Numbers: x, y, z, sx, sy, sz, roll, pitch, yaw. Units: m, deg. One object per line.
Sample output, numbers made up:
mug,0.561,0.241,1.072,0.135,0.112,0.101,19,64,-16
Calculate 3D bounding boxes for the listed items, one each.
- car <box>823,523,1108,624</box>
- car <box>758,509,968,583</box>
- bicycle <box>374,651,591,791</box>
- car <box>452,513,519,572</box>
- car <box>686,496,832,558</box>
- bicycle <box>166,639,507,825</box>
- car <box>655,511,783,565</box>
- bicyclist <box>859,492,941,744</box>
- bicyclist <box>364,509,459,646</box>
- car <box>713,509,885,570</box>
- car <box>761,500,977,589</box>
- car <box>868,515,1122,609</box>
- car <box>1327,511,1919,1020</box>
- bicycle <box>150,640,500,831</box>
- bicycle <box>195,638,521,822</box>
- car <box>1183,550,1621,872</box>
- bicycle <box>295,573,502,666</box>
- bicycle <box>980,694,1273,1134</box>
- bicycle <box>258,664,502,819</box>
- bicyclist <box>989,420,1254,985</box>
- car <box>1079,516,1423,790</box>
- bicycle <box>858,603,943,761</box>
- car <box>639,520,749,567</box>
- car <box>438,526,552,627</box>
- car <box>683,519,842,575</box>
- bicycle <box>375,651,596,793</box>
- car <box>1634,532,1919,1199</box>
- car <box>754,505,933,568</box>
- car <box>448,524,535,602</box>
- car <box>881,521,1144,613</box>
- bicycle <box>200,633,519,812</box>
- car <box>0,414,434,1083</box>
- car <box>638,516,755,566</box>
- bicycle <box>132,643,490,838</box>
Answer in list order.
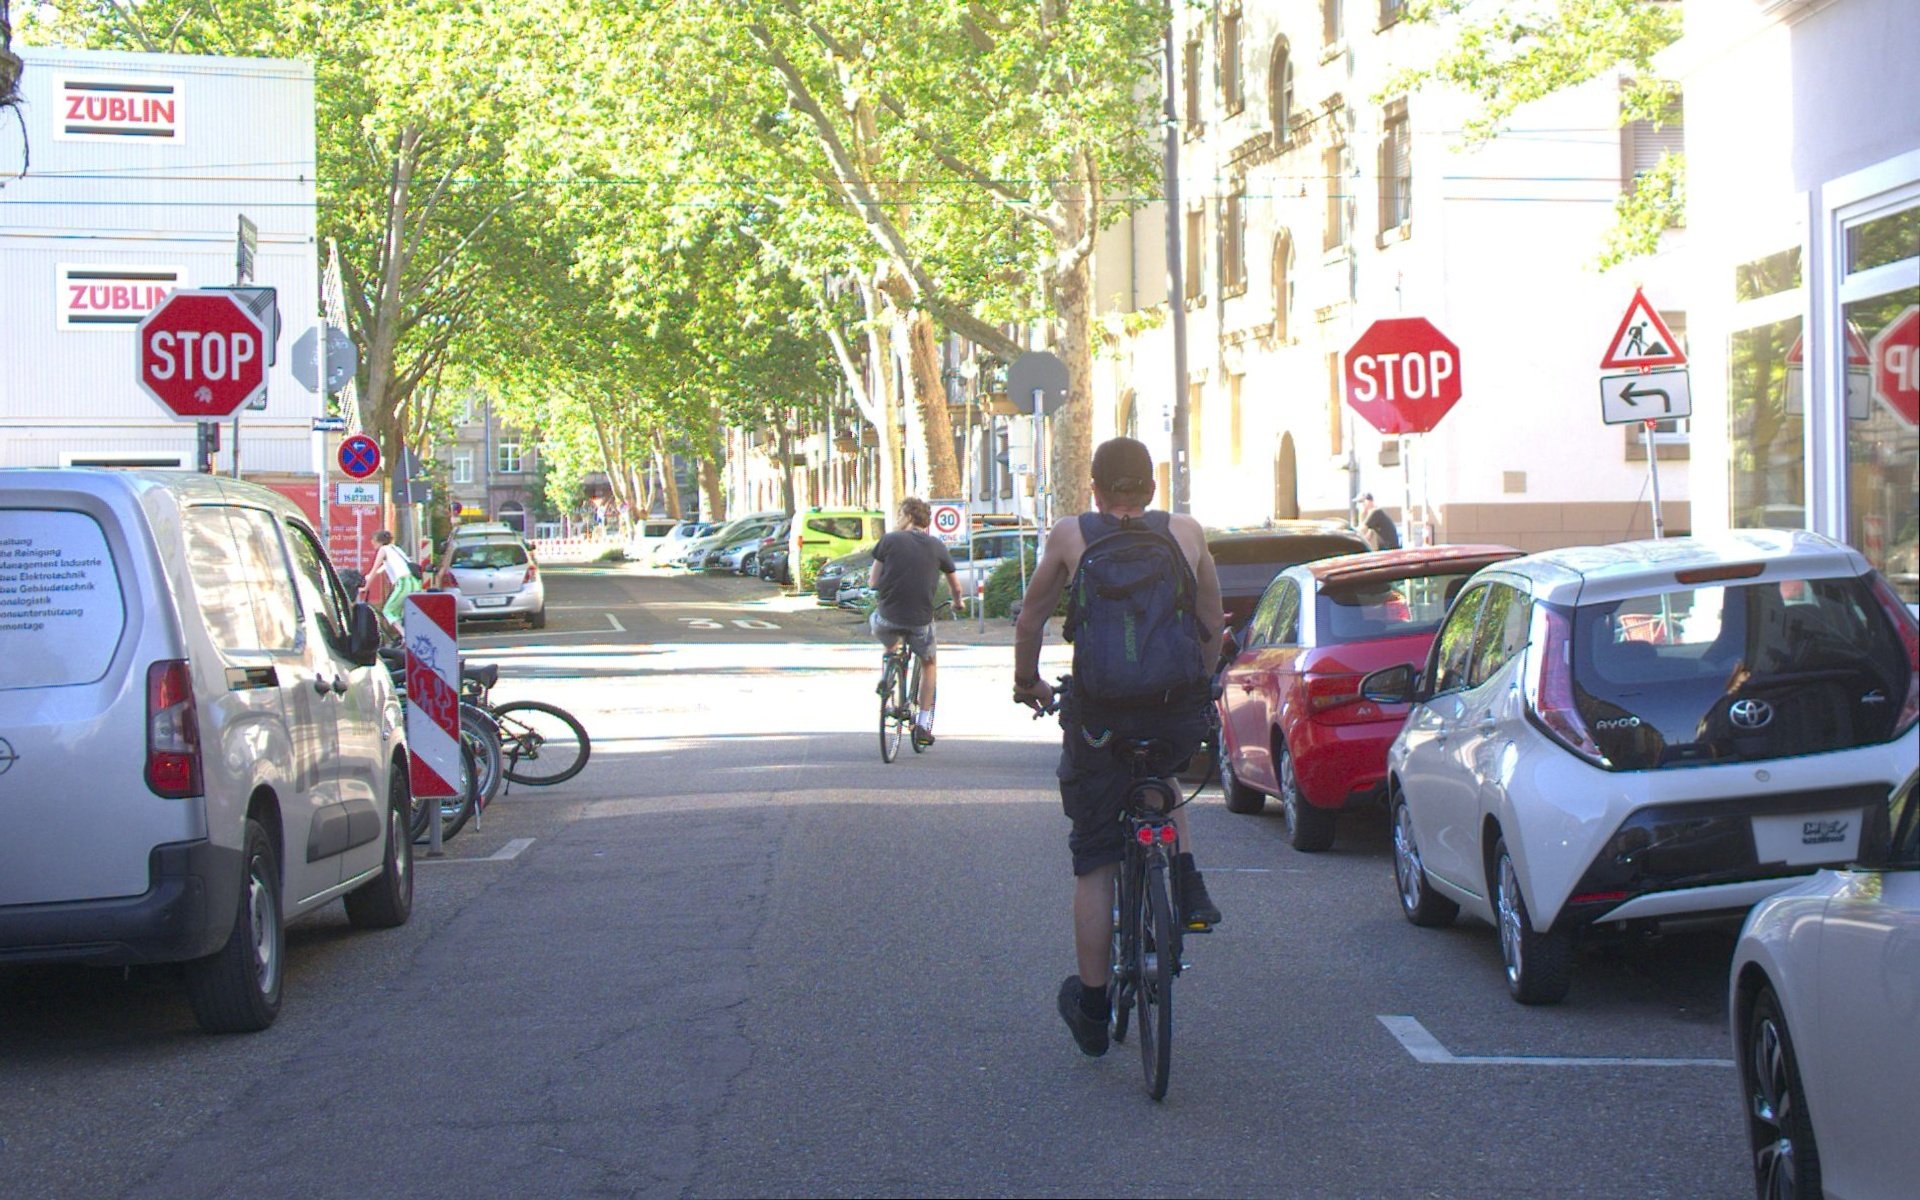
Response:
car,0.074,-0.448,56.507,4.460,1.565,1.729,-1,1,-8
car,-2.168,-1.214,76.367,4.460,1.565,1.729,-1,1,-8
bicycle,-2.969,0.747,21.363,1.308,0.815,0.371,-1,1,-10
car,-13.072,-1.589,94.510,1.665,1.557,4.617,-1,1,-9
car,-6.413,-2.323,109.518,4.460,1.891,1.729,-1,1,-8
bicycle,-3.371,0.710,18.656,1.764,0.958,0.443,-1,1,-2
car,-8.768,-2.252,124.927,4.460,1.891,1.729,-1,1,-8
bicyclist,-0.413,0.118,23.355,0.542,1.682,0.653,0,0,-2
bicyclist,-6.632,-0.270,41.625,1.096,1.634,0.896,-1,0,-7
car,-4.345,-1.644,92.767,4.460,1.565,1.729,-1,1,-8
car,-1.986,-1.213,74.356,4.460,1.830,1.729,-1,1,-9
car,0.624,-0.717,63.548,4.460,1.665,1.729,-1,1,-8
car,2.465,0.483,12.645,1.636,1.581,3.789,1,1,-3
bicycle,-3.353,0.712,18.210,1.764,0.958,0.422,-1,1,-2
bicycle,-3.374,0.716,19.257,1.764,0.958,0.481,-1,1,-13
car,2.241,0.504,18.405,1.645,1.498,3.955,1,1,-3
bicycle,-6.778,0.232,41.604,2.422,1.089,0.896,-1,0,-7
bicycle,0.426,0.821,9.643,0.689,1.013,1.907,1,1,-1
bicycle,-3.460,0.838,20.518,1.386,0.815,0.362,-3,2,-10
bicyclist,0.436,0.269,9.558,0.676,1.508,0.669,1,1,-1
car,1.857,0.283,23.198,1.760,1.656,4.198,1,1,-3
bicycle,-0.413,0.540,23.396,0.551,1.013,1.628,0,1,-2
car,-11.163,-2.378,144.209,4.460,1.891,1.729,-1,1,-8
car,-7.611,-0.419,56.012,1.643,1.489,4.001,-3,2,-9
car,-5.741,-1.550,99.895,4.460,1.565,1.729,-1,1,-8
bicycle,-2.898,0.741,20.999,1.308,0.815,0.355,-1,1,-10
car,2.413,0.657,5.559,1.679,1.505,4.190,1,1,-2
car,-3.049,-1.654,89.703,4.460,1.565,1.729,-1,1,-8
car,-9.873,-0.799,72.285,1.665,1.557,4.001,-1,1,-9
car,0.917,-0.609,61.483,4.460,1.565,1.729,-1,1,-8
bicycle,-3.426,0.693,19.688,1.764,0.958,0.428,-1,1,-8
car,-3.084,0.418,12.221,1.679,1.903,4.519,-4,1,-1
car,-10.384,-2.317,135.296,4.460,1.891,1.729,-1,1,-8
bicycle,-3.347,0.721,17.794,1.764,0.958,0.405,-1,1,-2
